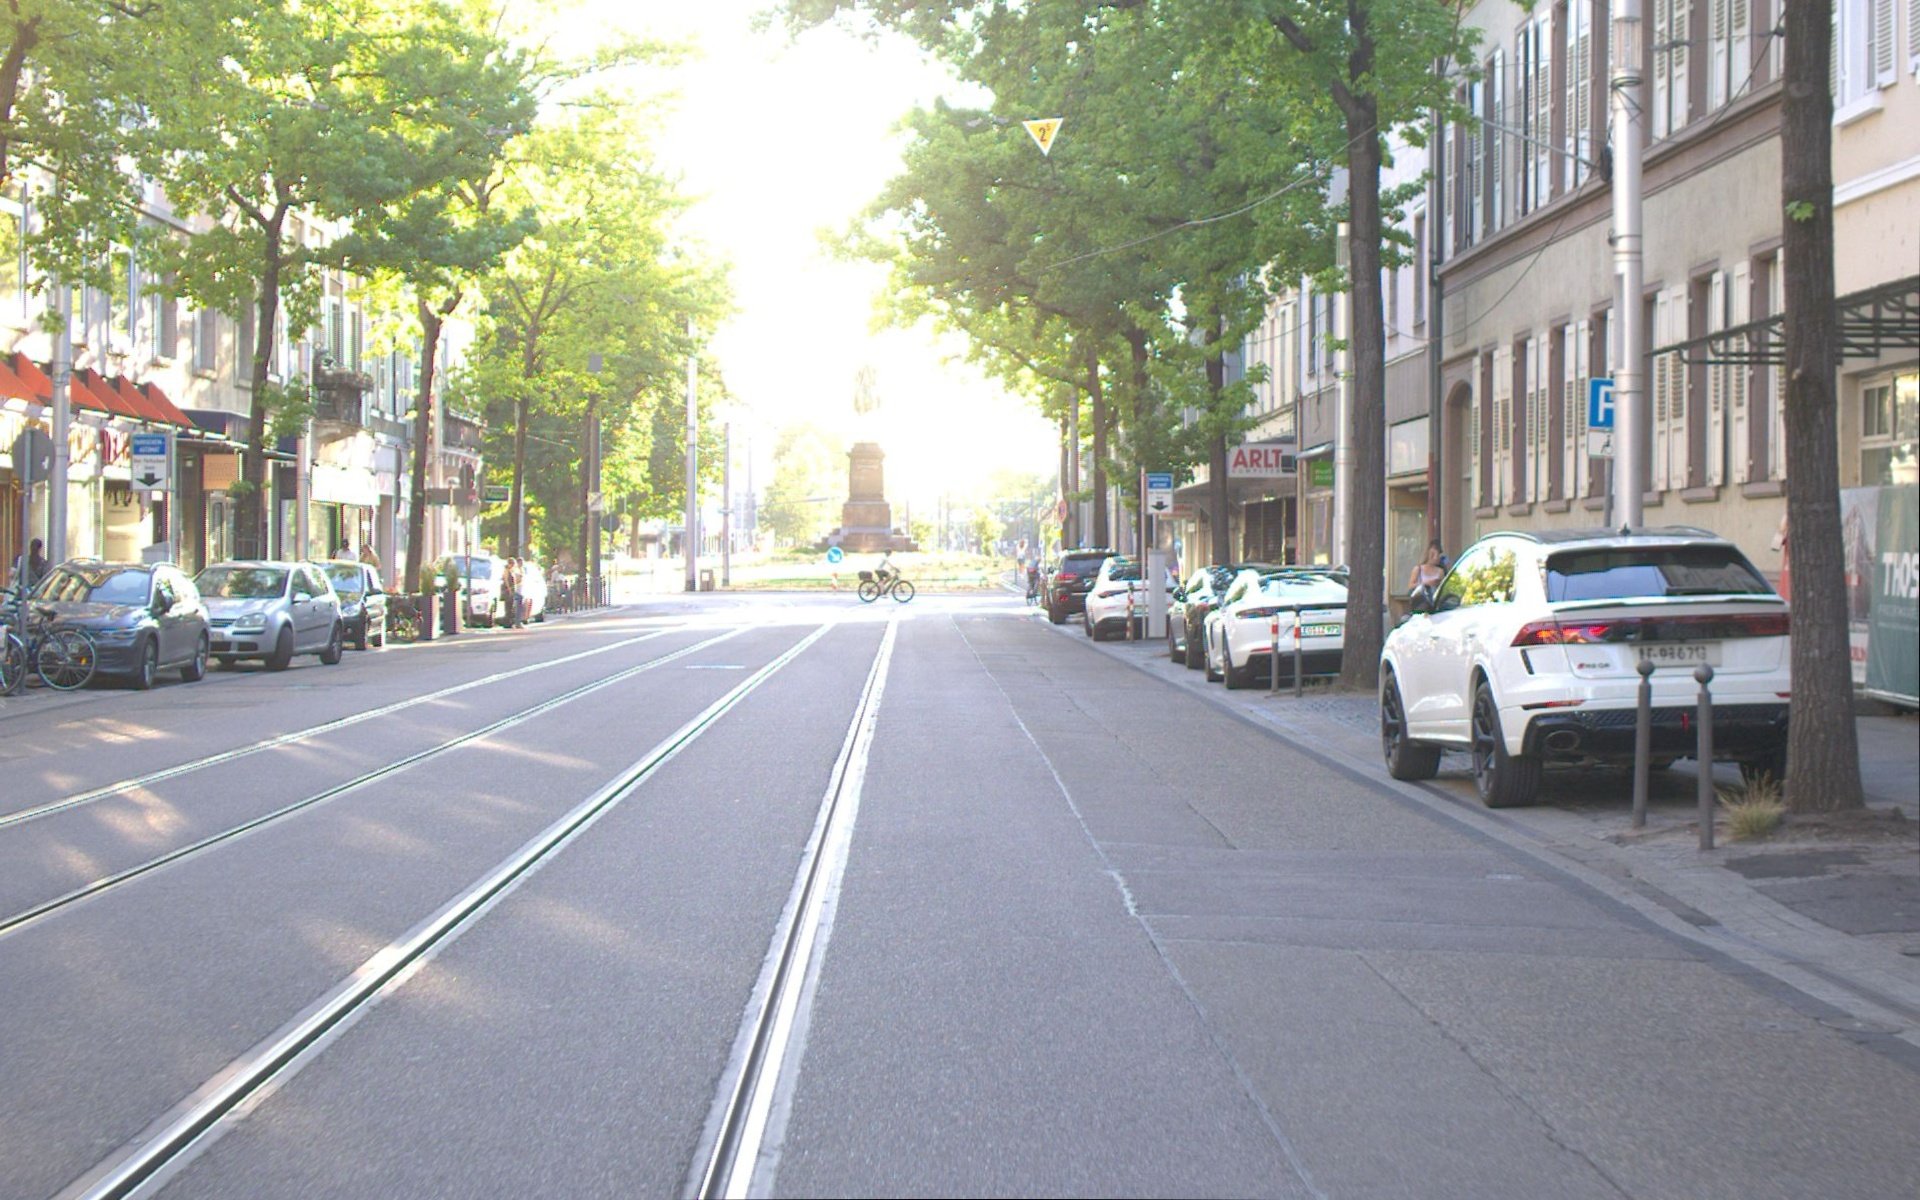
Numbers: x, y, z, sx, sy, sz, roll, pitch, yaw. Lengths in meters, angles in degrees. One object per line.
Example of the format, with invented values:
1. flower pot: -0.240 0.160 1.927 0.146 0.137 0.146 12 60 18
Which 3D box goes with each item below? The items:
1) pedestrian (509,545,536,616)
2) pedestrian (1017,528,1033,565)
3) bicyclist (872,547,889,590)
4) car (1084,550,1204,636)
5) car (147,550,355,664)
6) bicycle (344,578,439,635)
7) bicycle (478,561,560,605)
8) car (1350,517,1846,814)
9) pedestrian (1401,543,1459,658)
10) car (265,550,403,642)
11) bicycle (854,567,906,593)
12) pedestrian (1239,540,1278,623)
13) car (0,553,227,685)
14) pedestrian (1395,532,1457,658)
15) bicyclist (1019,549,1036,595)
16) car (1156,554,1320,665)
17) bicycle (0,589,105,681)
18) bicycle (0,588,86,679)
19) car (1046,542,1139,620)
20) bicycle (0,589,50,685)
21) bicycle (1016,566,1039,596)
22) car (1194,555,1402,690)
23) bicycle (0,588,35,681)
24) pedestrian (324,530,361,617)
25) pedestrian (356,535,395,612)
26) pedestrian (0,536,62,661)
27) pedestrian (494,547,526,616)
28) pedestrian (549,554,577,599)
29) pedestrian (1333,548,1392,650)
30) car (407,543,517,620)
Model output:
1. pedestrian: -9.674 -0.428 75.986 0.521 1.564 0.634 0 0 0
2. pedestrian: 2.821 -2.327 148.396 0.636 1.600 0.772 0 1 -3
3. bicyclist: -2.641 -1.056 114.445 0.536 1.433 0.367 0 1 -1
4. car: 3.532 -0.166 66.658 1.993 1.493 4.680 -3 1 0
5. car: -9.817 0.075 47.900 1.767 1.492 4.174 1 0 4
6. bicycle: -10.371 0.118 62.739 1.616 0.962 0.432 2 1 5
7. bicycle: -11.849 -0.452 92.405 2.108 1.101 0.501 2 0 -25
8. car: 4.032 0.368 22.654 1.997 1.682 4.968 -2 0 -4
9. pedestrian: 6.972 -0.001 51.046 0.658 1.659 0.888 -2 1 -1
10. car: -10.609 -0.086 58.447 1.665 1.423 3.827 3 1 -1
11. bicycle: -2.650 -0.660 114.441 1.731 0.861 0.367 0 1 -1
12. pedestrian: 6.083 -0.384 70.109 0.643 1.664 0.786 -3 1 -1
13. car: -10.194 0.184 41.531 1.711 1.456 4.486 2 1 -1
14. pedestrian: 5.867 -0.063 43.291 0.649 1.568 0.798 0 1 -1
15. bicyclist: 2.214 -0.918 112.869 0.429 1.476 0.465 1 1 22
16. car: 3.987 0.098 49.989 1.833 1.473 4.762 -2 1 -1
17. bicycle: -10.460 0.377 37.946 1.971 0.998 0.330 0 1 2
18. bicycle: -10.766 0.369 38.331 1.971 0.998 0.330 0 1 2
19. car: 3.209 -0.492 84.154 1.938 1.753 4.680 -3 1 -1
20. bicycle: -10.619 0.385 36.251 1.971 0.998 0.330 0 1 2
21. bicycle: 2.215 -0.616 112.890 0.264 0.979 1.337 1 1 22
22. car: 3.949 0.221 40.880 1.912 1.415 4.888 -2 1 0
23. bicycle: -11.122 0.363 37.500 1.971 0.998 0.419 0 1 4
24. pedestrian: -14.328 -0.622 79.785 0.722 2.007 0.643 0 1 -1
25. pedestrian: -13.547 -0.621 79.755 0.722 1.754 1.090 0 1 -1
26. pedestrian: -12.740 -0.026 46.807 0.843 1.687 0.740 0 1 -1
27. pedestrian: -9.842 -0.395 75.185 0.620 1.504 0.729 0 0 0
28. pedestrian: -11.709 -0.695 101.389 0.728 1.286 0.857 1 1 -3
29. pedestrian: 7.165 -0.026 61.207 0.858 1.747 0.933 -3 1 -1
30. car: -11.291 -0.439 78.174 1.836 1.575 4.116 4 1 0
